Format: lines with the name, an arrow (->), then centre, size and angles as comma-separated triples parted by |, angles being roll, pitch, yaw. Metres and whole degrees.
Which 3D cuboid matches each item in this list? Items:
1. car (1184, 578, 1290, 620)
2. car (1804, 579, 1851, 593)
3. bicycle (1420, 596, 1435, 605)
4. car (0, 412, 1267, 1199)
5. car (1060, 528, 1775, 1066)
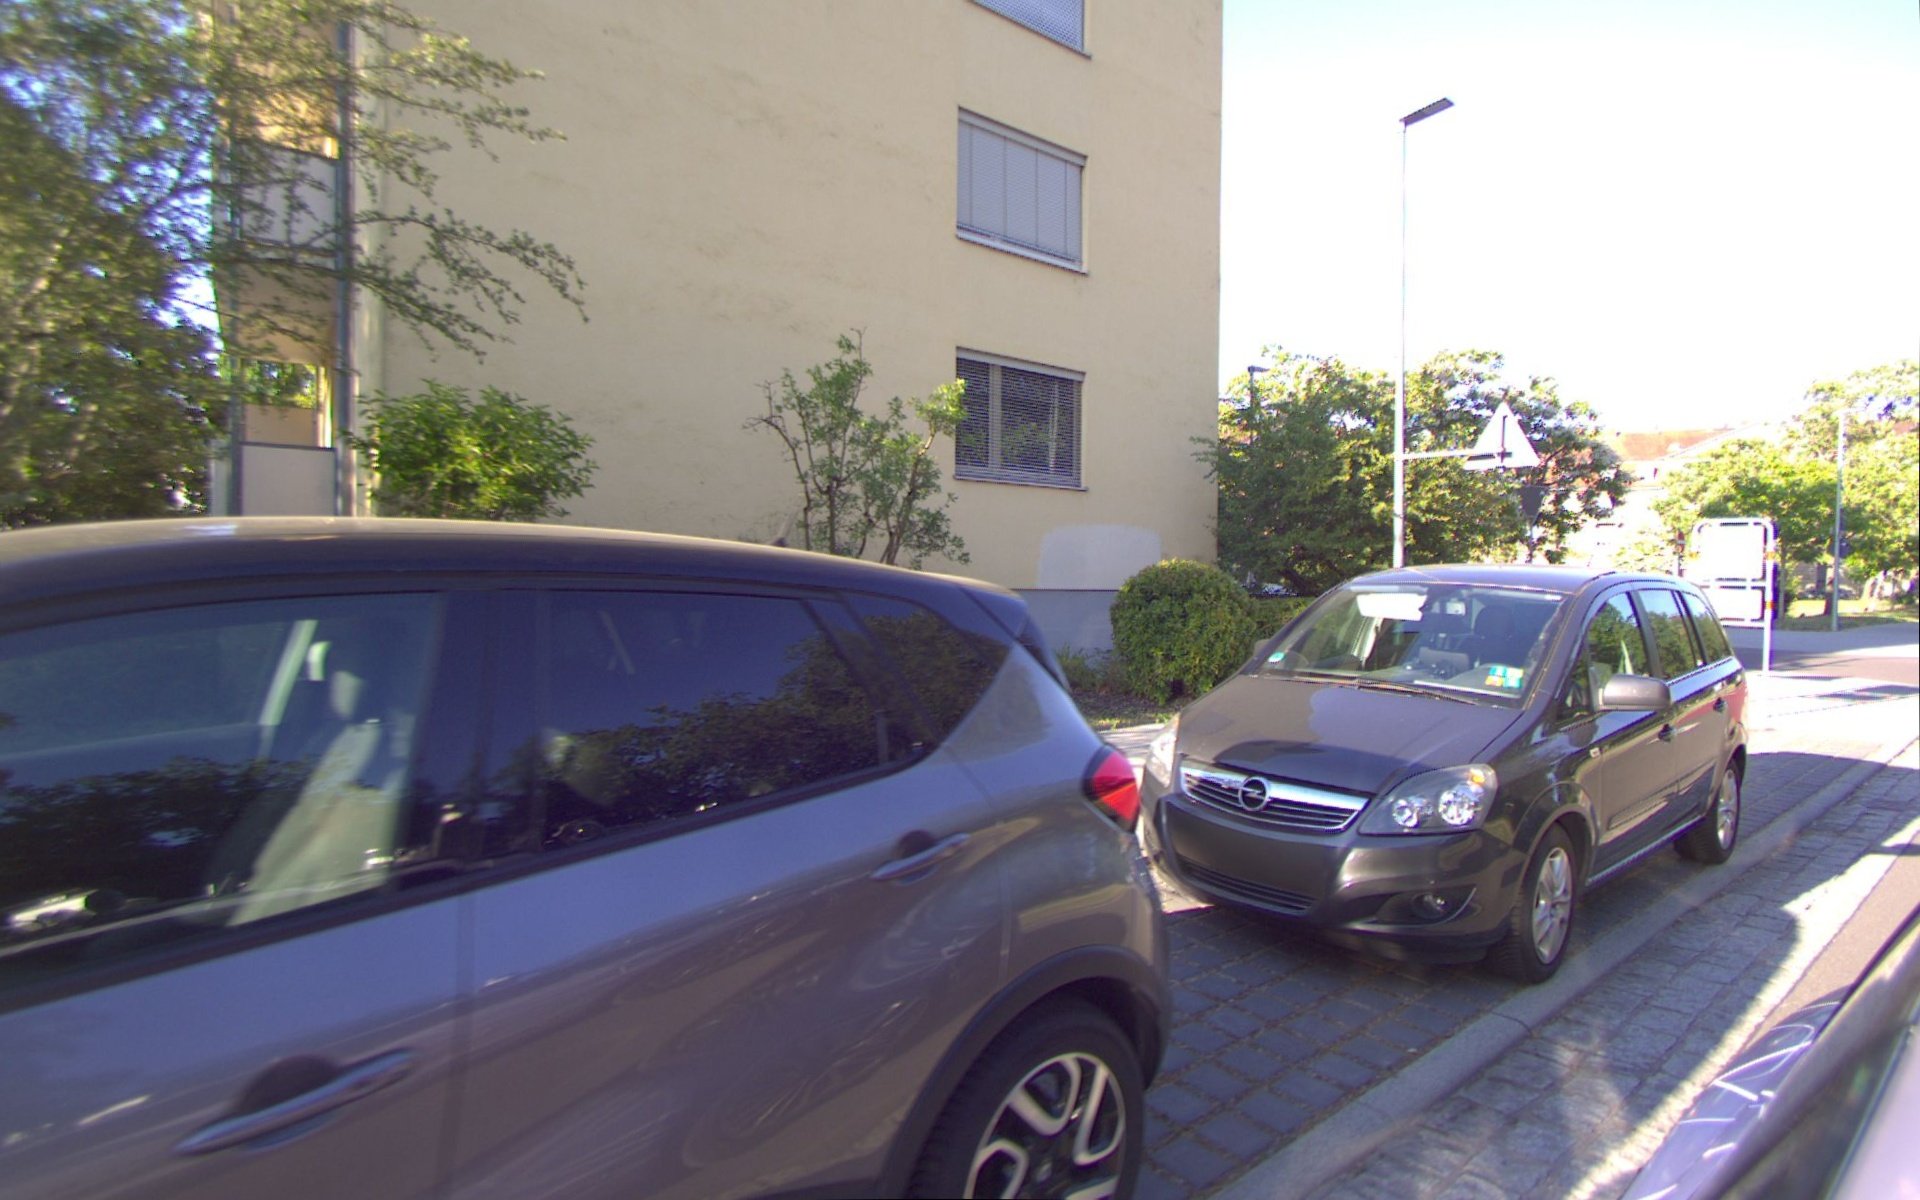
car -> 10.385, -0.043, 38.204 | 1.690, 1.445, 4.007 | 1, 0, -23
car -> 95.014, -1.544, 110.845 | 3.675, 1.517, 1.707 | 0, 0, 32
bicycle -> 33.380, 0.027, 72.294 | 0.891, 0.660, 0.437 | 0, 0, 11
car -> -1.392, 0.579, 1.611 | 4.072, 1.574, 1.682 | -1, 3, -41
car -> 2.539, 0.537, 5.065 | 4.097, 1.630, 1.713 | -1, 3, -42
